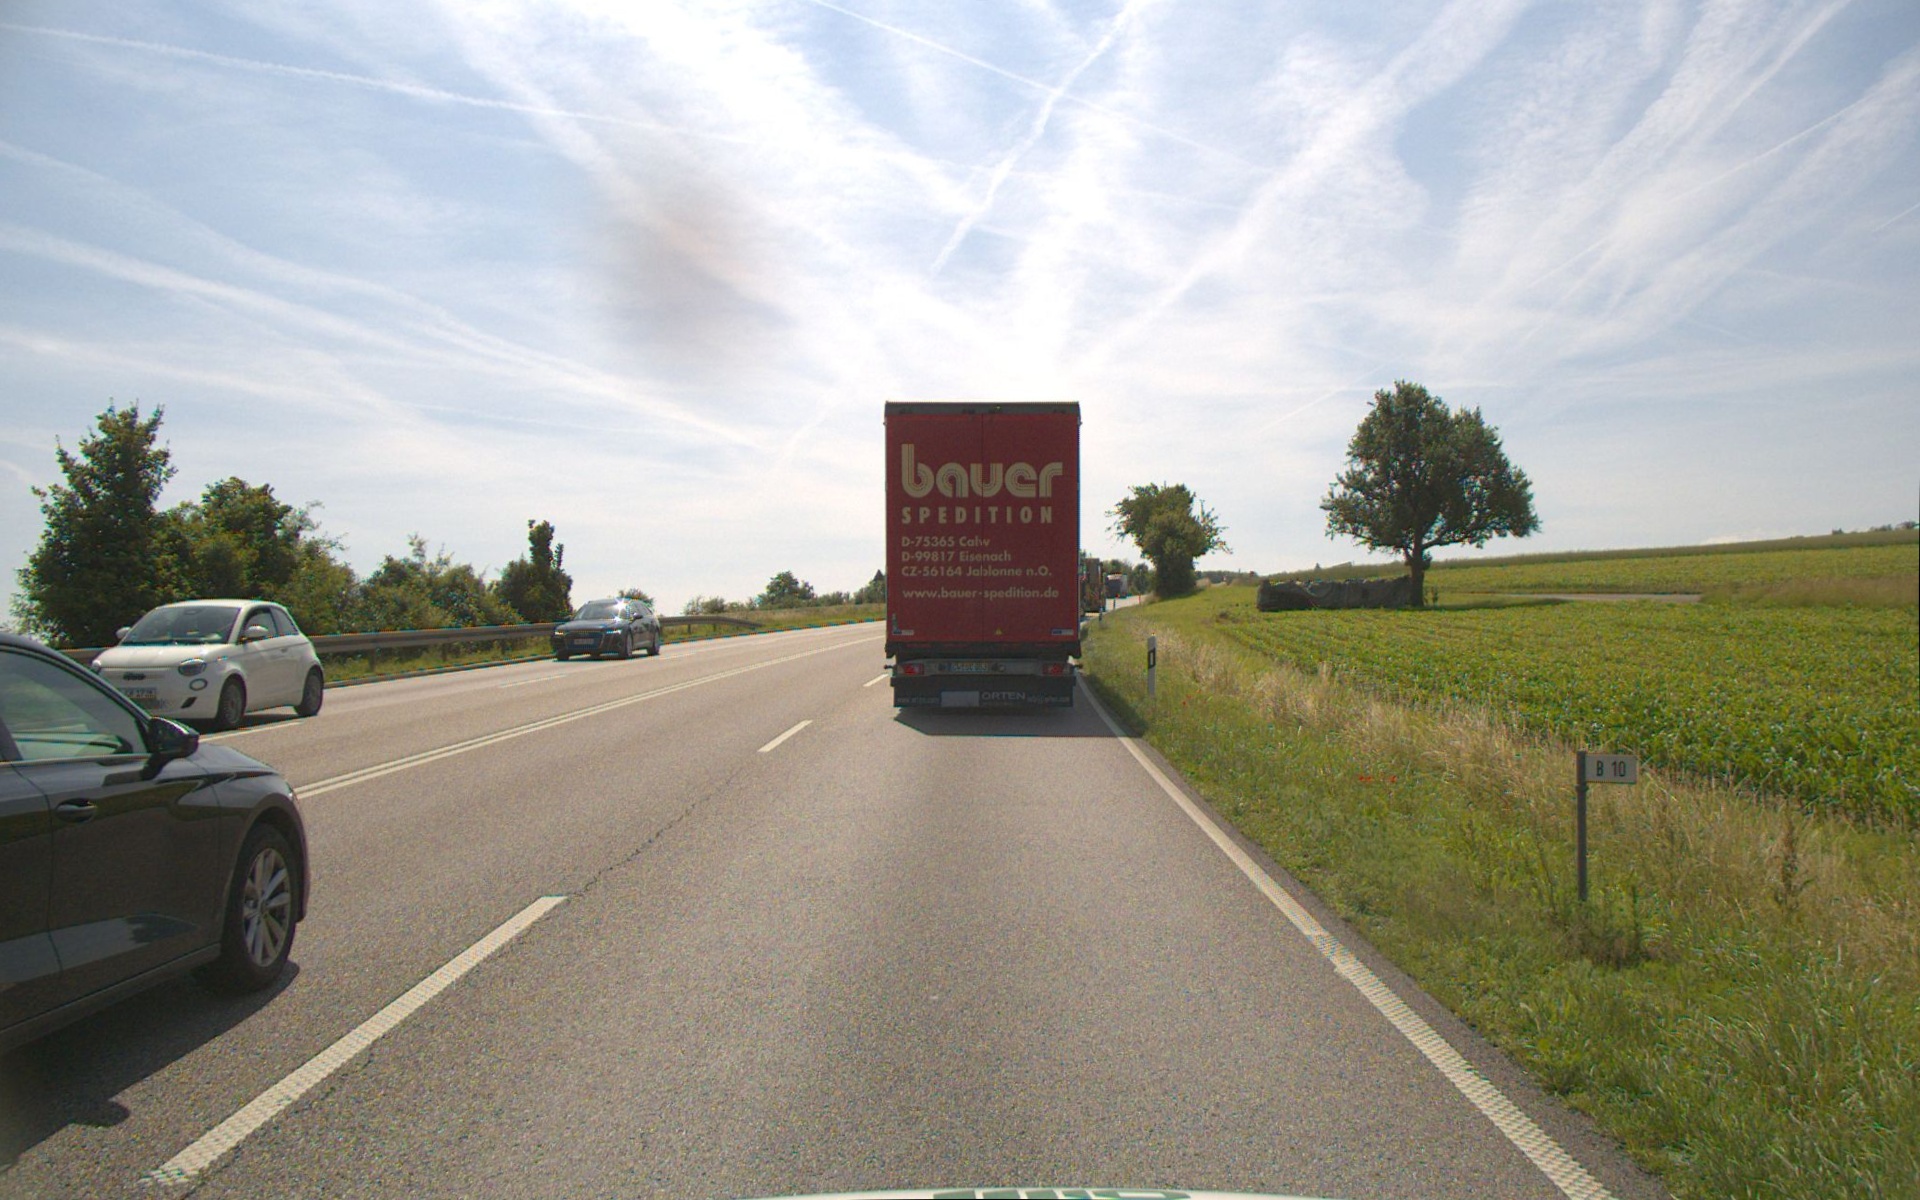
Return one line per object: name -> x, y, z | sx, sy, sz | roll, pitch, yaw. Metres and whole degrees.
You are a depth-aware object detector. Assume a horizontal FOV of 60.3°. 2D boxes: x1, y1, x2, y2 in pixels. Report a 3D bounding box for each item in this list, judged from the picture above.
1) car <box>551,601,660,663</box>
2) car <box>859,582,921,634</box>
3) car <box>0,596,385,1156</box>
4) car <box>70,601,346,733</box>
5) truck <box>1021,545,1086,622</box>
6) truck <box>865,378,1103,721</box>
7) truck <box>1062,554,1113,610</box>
car -> -9.042, 0.783, 42.542 | 1.798, 1.481, 4.326 | -1, 0, 0
car -> -2.644, 0.300, 63.612 | 1.865, 1.917, 5.434 | 0, 0, 3
car -> -3.417, 0.742, 5.089 | 1.670, 1.498, 4.810 | 0, 0, -1
car -> -9.282, 0.769, 20.748 | 1.623, 1.483, 3.735 | -1, 0, 2
truck -> 5.486, -0.897, 94.509 | 2.982, 3.978, 15.626 | -1, 0, 6
truck -> 0.412, -0.651, 28.982 | 2.945, 4.253, 16.715 | 0, 0, 1
truck -> 10.031, -1.354, 128.359 | 2.982, 3.978, 18.412 | -1, 0, 7
